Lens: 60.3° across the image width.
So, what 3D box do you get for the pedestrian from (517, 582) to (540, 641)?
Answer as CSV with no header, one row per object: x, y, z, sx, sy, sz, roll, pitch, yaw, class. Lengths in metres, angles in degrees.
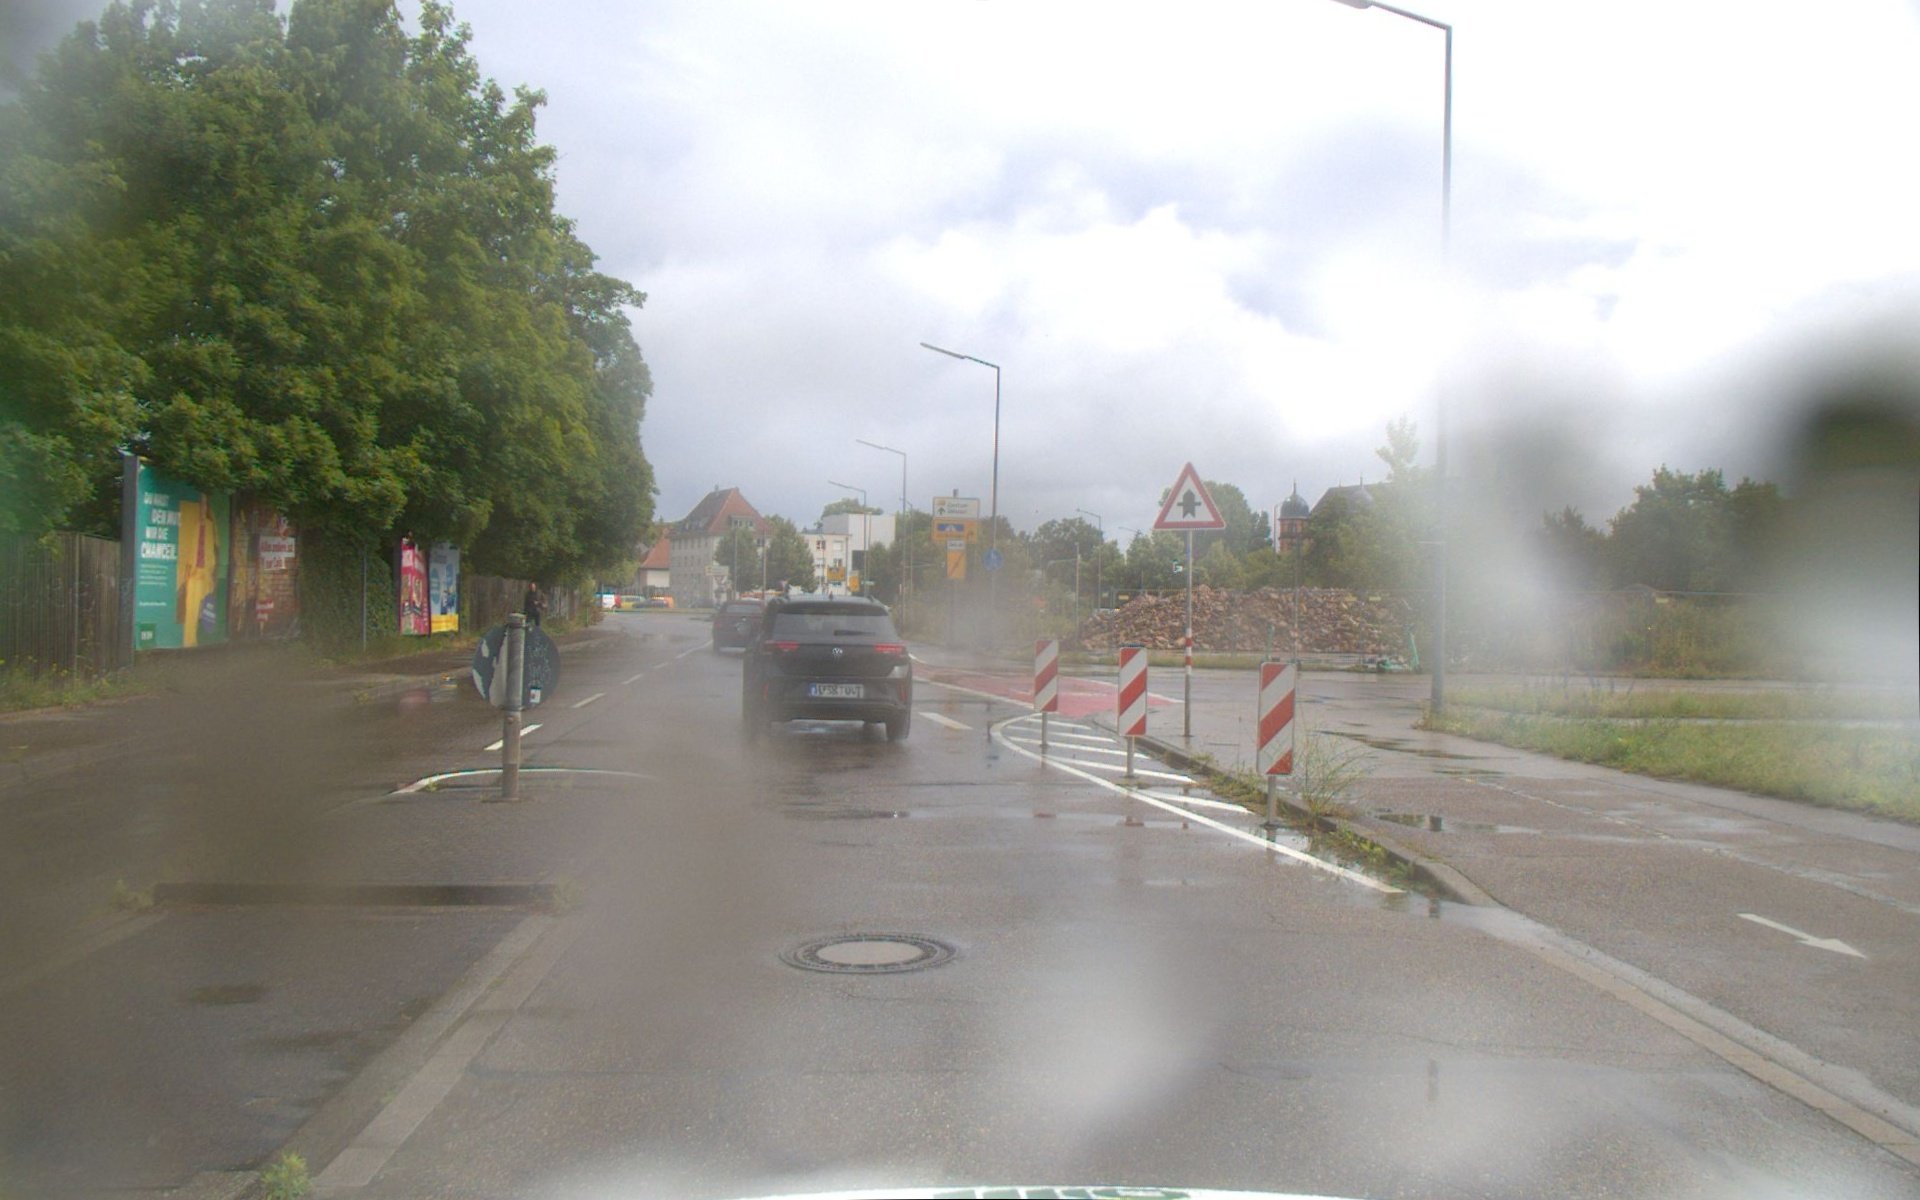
-12.881,0.341,49.415,0.514,1.731,0.565,3,1,-7,pedestrian

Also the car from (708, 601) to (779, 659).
-5.864,0.818,45.236,1.806,1.467,3.994,-1,-1,-6,car

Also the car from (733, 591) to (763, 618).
-14.436,0.304,112.677,1.959,1.732,4.009,1,0,-8,car

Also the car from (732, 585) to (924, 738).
-1.632,0.649,19.132,1.950,1.547,3.992,-1,0,-8,car

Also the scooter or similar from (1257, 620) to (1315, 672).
8.189,1.138,41.572,1.258,1.207,0.501,4,2,34,scooter or similar

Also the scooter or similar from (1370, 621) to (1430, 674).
10.838,1.157,40.756,1.258,1.207,0.501,4,2,34,scooter or similar
